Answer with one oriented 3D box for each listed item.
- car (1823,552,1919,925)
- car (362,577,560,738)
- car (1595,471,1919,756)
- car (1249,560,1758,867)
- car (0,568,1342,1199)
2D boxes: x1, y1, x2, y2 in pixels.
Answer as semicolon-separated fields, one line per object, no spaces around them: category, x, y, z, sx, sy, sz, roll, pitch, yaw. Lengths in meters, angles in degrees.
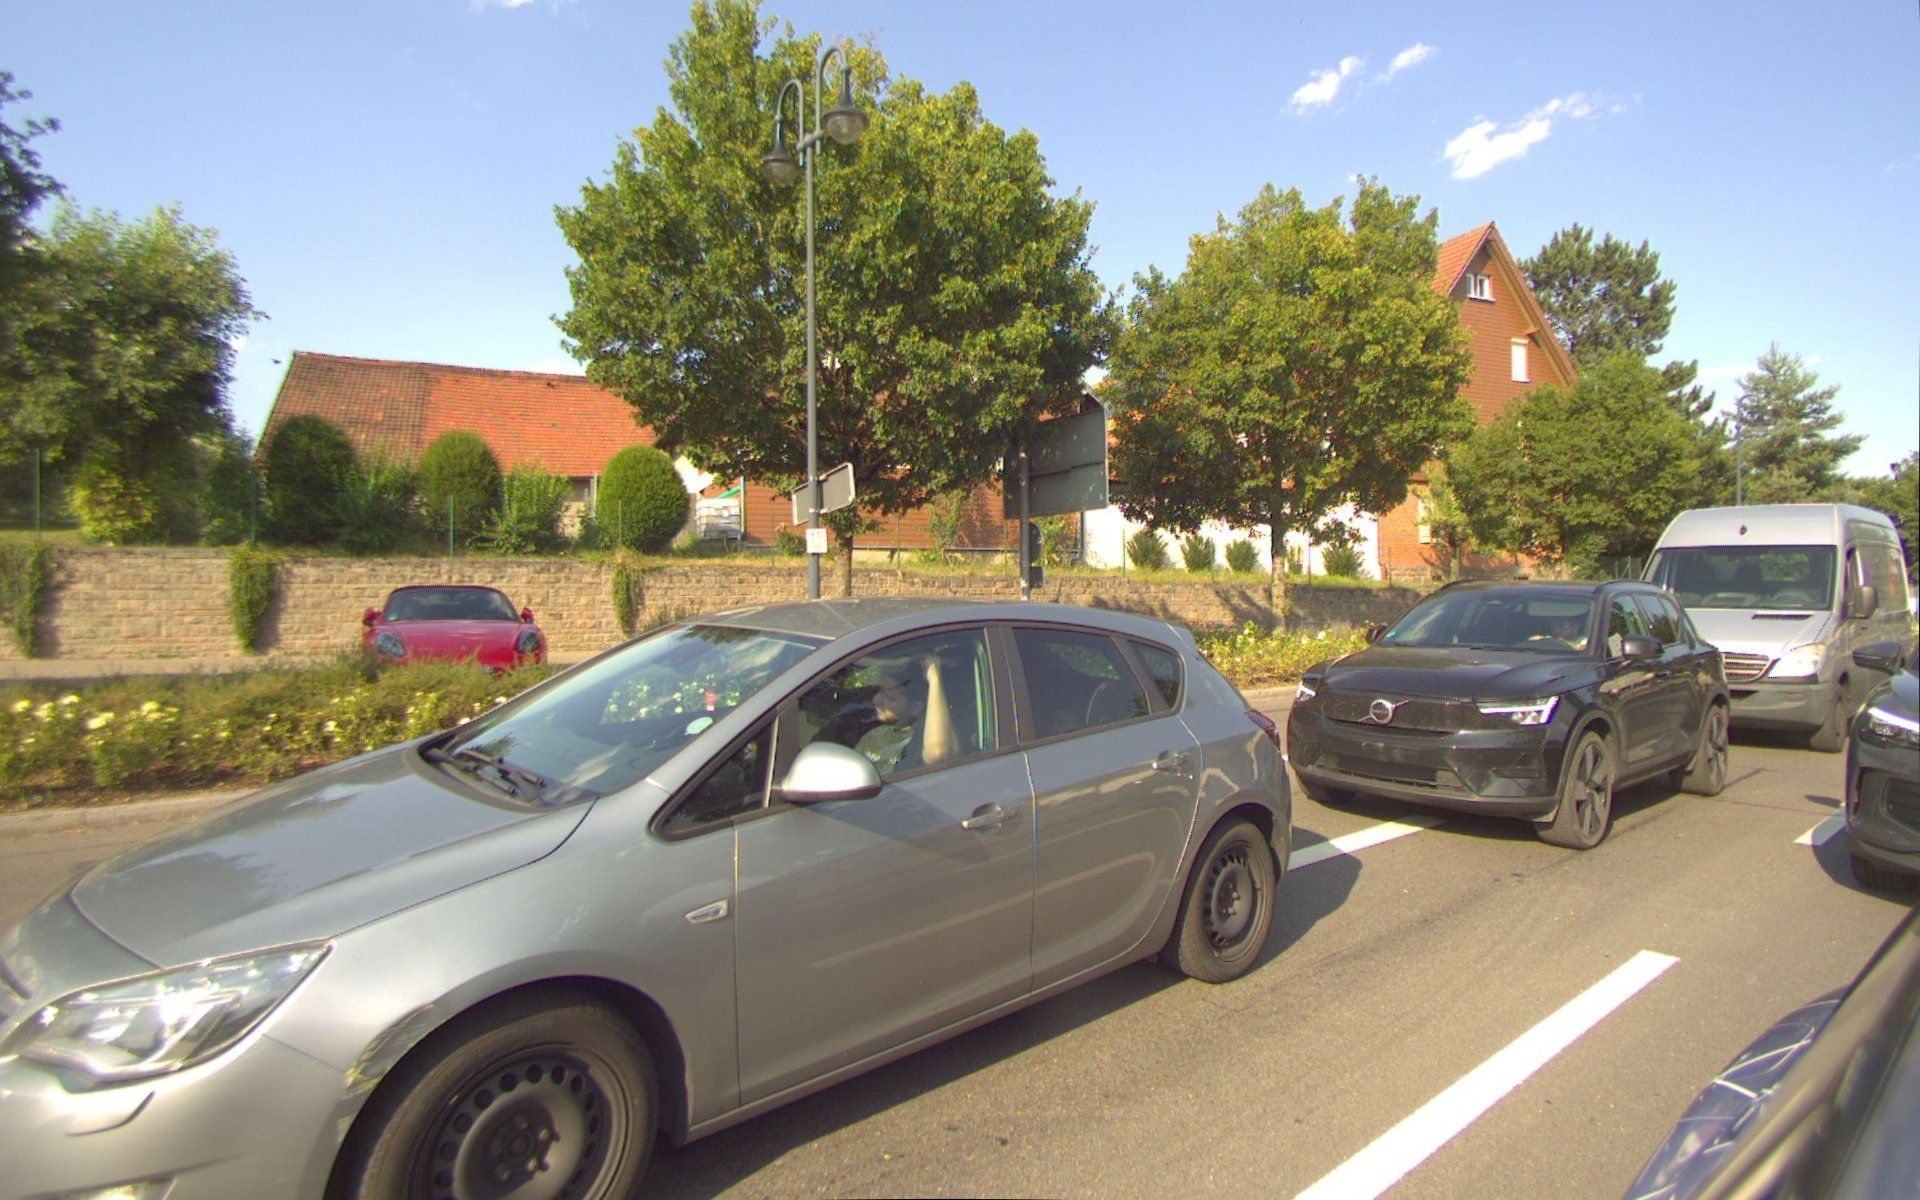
car;6.212;0.619;5.327;4.242;1.629;1.844;0;2;-40
car;-5.898;0.526;11.705;1.743;1.510;4.156;0;0;-31
car;9.699;0.087;11.937;5.938;2.601;1.992;0;1;-40
car;4.159;0.568;7.442;4.242;1.629;1.844;0;2;-40
car;-0.561;0.666;3.513;4.244;1.471;1.765;0;2;-42
